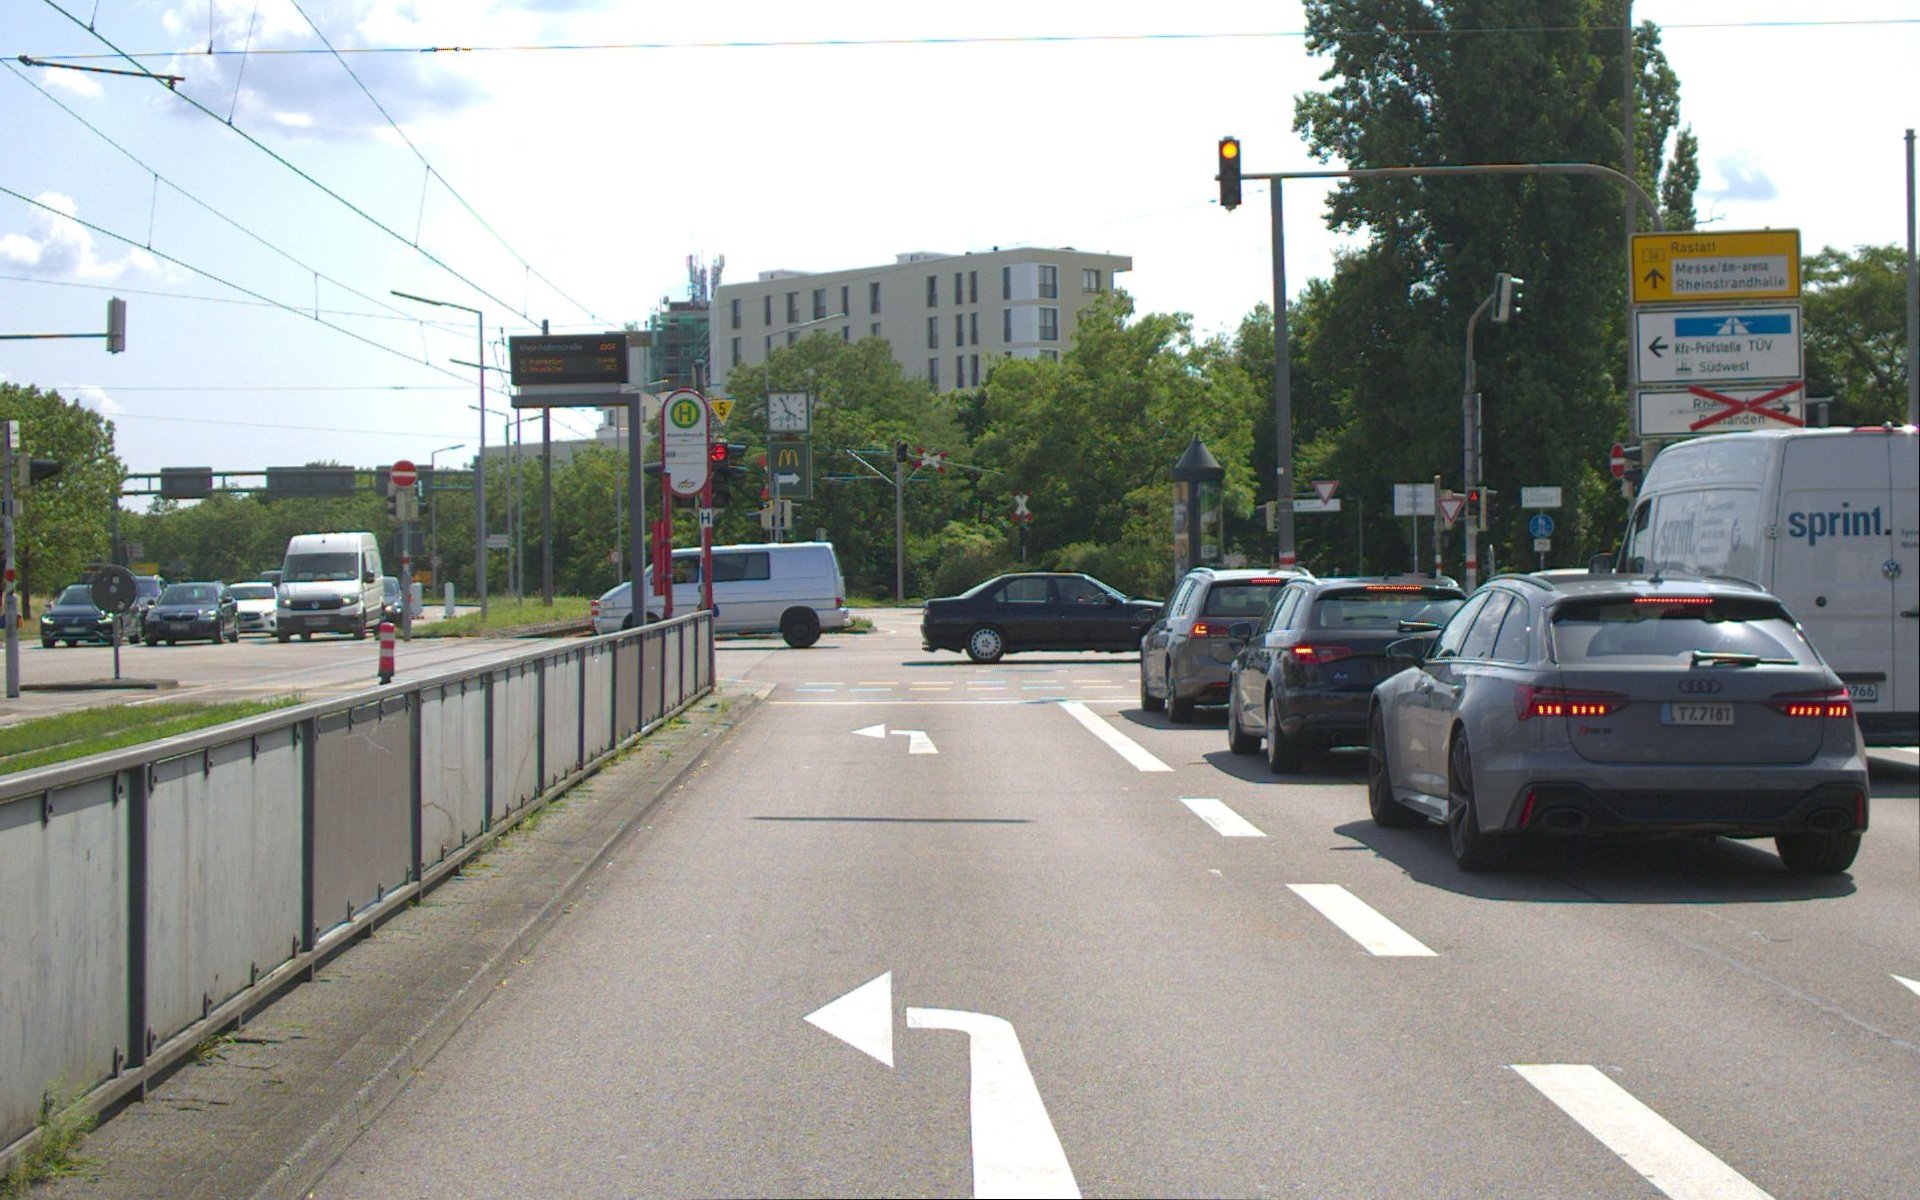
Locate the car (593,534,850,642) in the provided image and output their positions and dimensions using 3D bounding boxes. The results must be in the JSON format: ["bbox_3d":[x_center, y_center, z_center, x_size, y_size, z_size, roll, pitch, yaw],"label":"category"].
[{"bbox_3d":[-4.424,-0.223,64.416,4.676,1.930,2.000,1,0,-1],"label":"car"}]

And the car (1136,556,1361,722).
[{"bbox_3d":[2.773,0.344,33.881,1.744,1.494,4.380,1,0,-1],"label":"car"}]

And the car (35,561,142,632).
[{"bbox_3d":[-21.067,-0.082,83.258,1.862,1.645,4.001,2,0,-5],"label":"car"}]

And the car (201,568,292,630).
[{"bbox_3d":[-18.579,-0.028,89.653,1.802,1.536,4.165,2,0,-5],"label":"car"}]

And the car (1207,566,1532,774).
[{"bbox_3d":[3.011,0.477,26.081,1.869,1.415,4.100,1,0,-1],"label":"car"}]

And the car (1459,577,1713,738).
[{"bbox_3d":[6.091,0.520,33.904,1.745,1.443,4.379,1,0,1],"label":"car"}]

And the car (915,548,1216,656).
[{"bbox_3d":[1.570,0.030,52.464,4.459,1.509,2.000,2,0,0],"label":"car"}]

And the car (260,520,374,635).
[{"bbox_3d":[-15.262,-0.527,81.862,1.993,2.597,4.879,2,0,-3],"label":"car"}]

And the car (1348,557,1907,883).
[{"bbox_3d":[3.323,0.535,18.116,1.887,1.443,4.828,1,0,-1],"label":"car"}]

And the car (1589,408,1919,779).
[{"bbox_3d":[6.386,-0.059,26.337,2.041,2.549,5.231,0,0,-1],"label":"car"}]

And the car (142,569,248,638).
[{"bbox_3d":[-18.029,0.080,81.135,1.896,1.536,3.730,2,0,-5],"label":"car"}]
